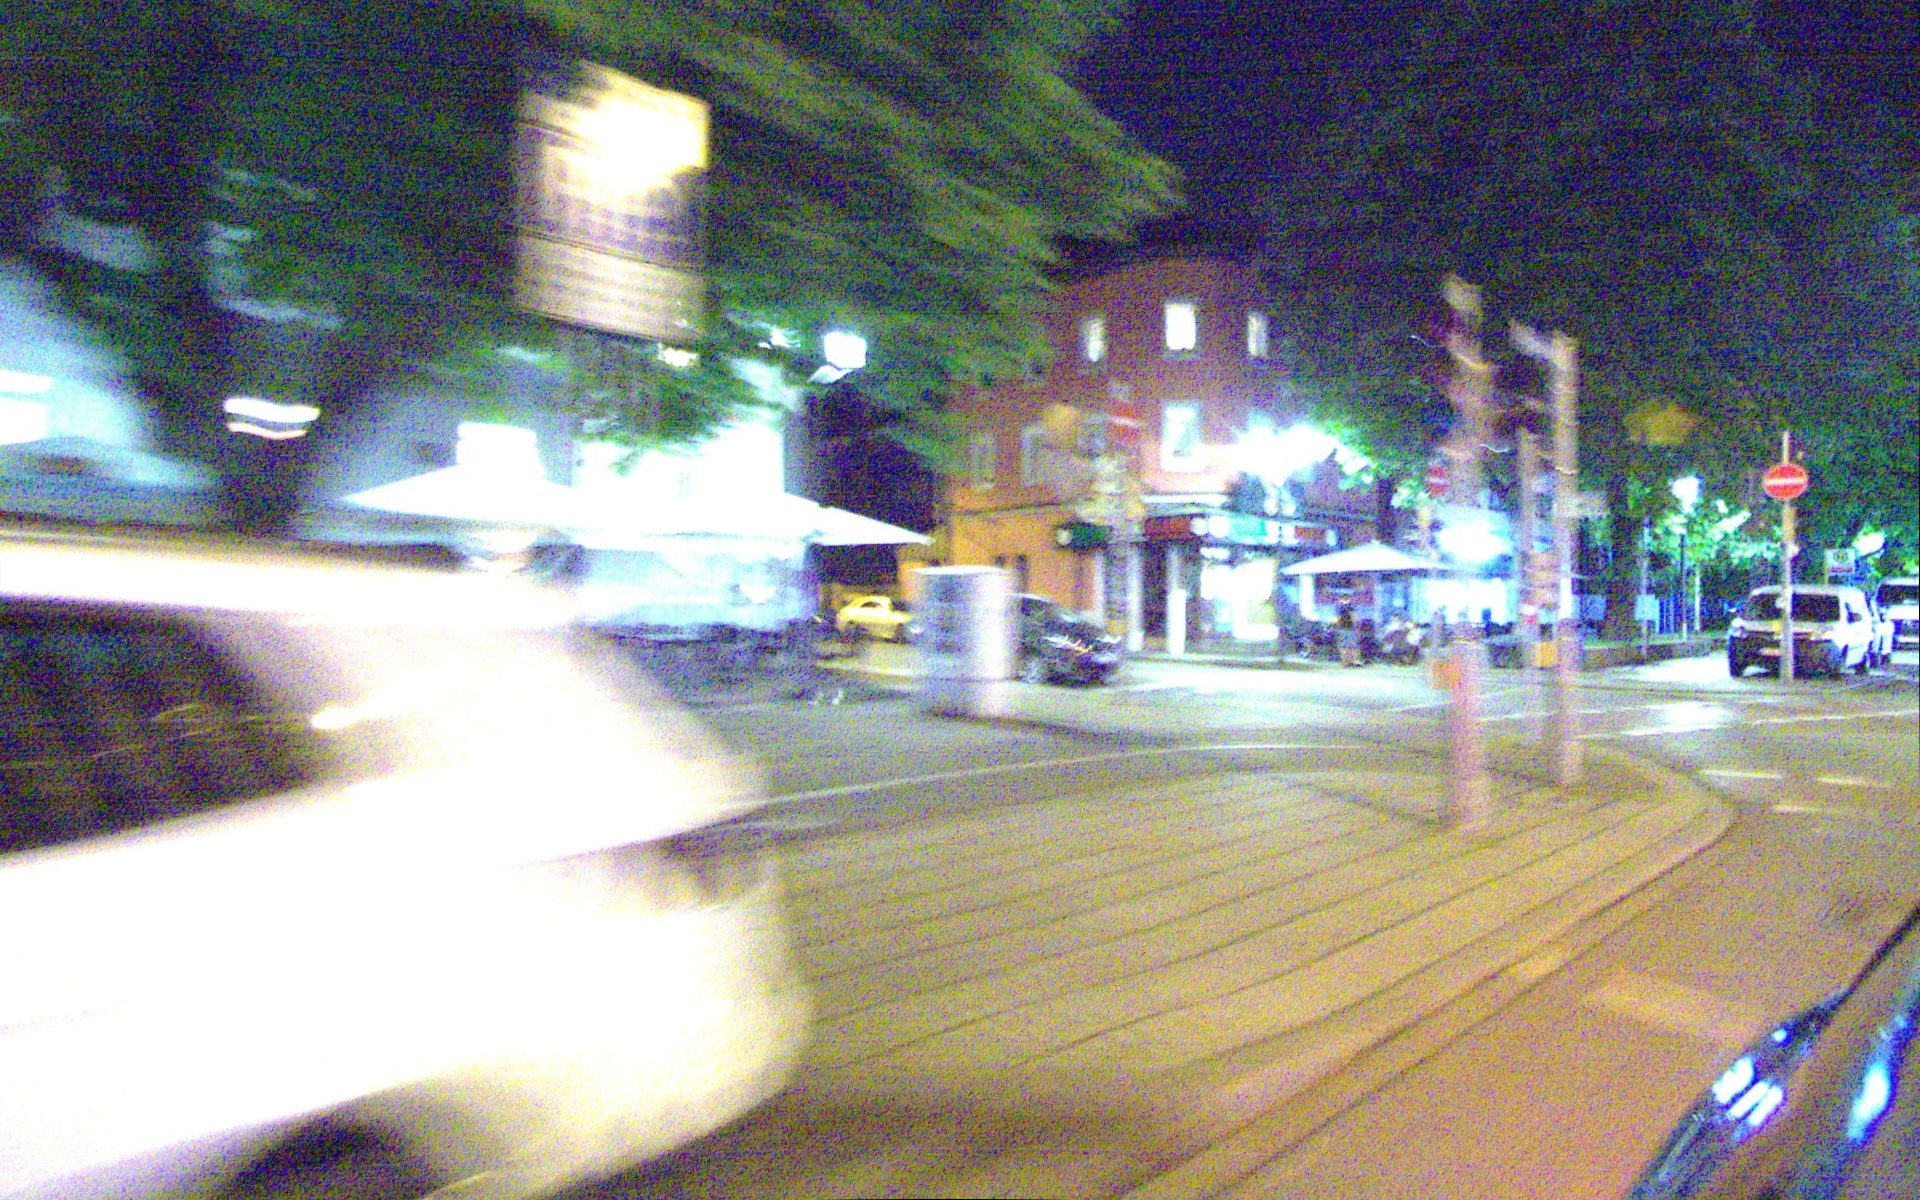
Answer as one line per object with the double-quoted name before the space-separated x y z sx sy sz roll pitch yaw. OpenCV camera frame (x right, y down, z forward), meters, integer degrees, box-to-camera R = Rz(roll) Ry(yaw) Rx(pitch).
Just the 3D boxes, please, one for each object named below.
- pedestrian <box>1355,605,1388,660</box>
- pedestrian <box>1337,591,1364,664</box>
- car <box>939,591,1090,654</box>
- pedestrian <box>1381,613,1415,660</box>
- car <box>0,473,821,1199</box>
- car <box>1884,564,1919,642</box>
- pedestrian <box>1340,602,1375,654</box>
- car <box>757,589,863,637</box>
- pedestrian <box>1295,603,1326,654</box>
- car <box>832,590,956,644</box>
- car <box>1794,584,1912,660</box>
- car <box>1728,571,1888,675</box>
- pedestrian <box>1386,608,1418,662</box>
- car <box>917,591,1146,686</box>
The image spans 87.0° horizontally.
"pedestrian" 9.610 0.751 23.637 0.492 1.280 0.530 0 -1 -10
"pedestrian" 8.722 0.608 22.615 0.364 1.608 0.482 0 -1 -5
"car" 1.425 0.580 27.984 1.771 1.569 4.150 3 -1 -40
"pedestrian" 10.125 0.830 23.410 0.492 1.067 0.530 0 -1 -10
"car" -2.418 0.602 1.237 4.141 1.556 1.774 0 1 -40
"car" 31.011 0.105 32.180 5.067 2.356 2.135 0 0 -44
"pedestrian" 9.972 0.684 25.389 0.518 1.280 0.685 0 -1 -12
"car" -5.424 0.427 36.276 1.771 1.569 4.150 3 -1 -40
"pedestrian" 8.774 0.707 25.341 0.518 1.280 0.503 0 -1 -12
"car" -2.154 0.507 32.169 1.771 1.569 4.150 3 -1 -40
"car" 21.490 0.480 24.291 4.223 1.680 1.686 0 0 -42
"car" 16.915 0.408 20.109 4.500 1.845 1.792 0 0 -41
"pedestrian" 9.887 0.777 22.647 0.508 1.183 0.391 0 -1 -4
"car" 1.224 0.620 19.007 1.772 1.550 4.323 -1 1 -41
